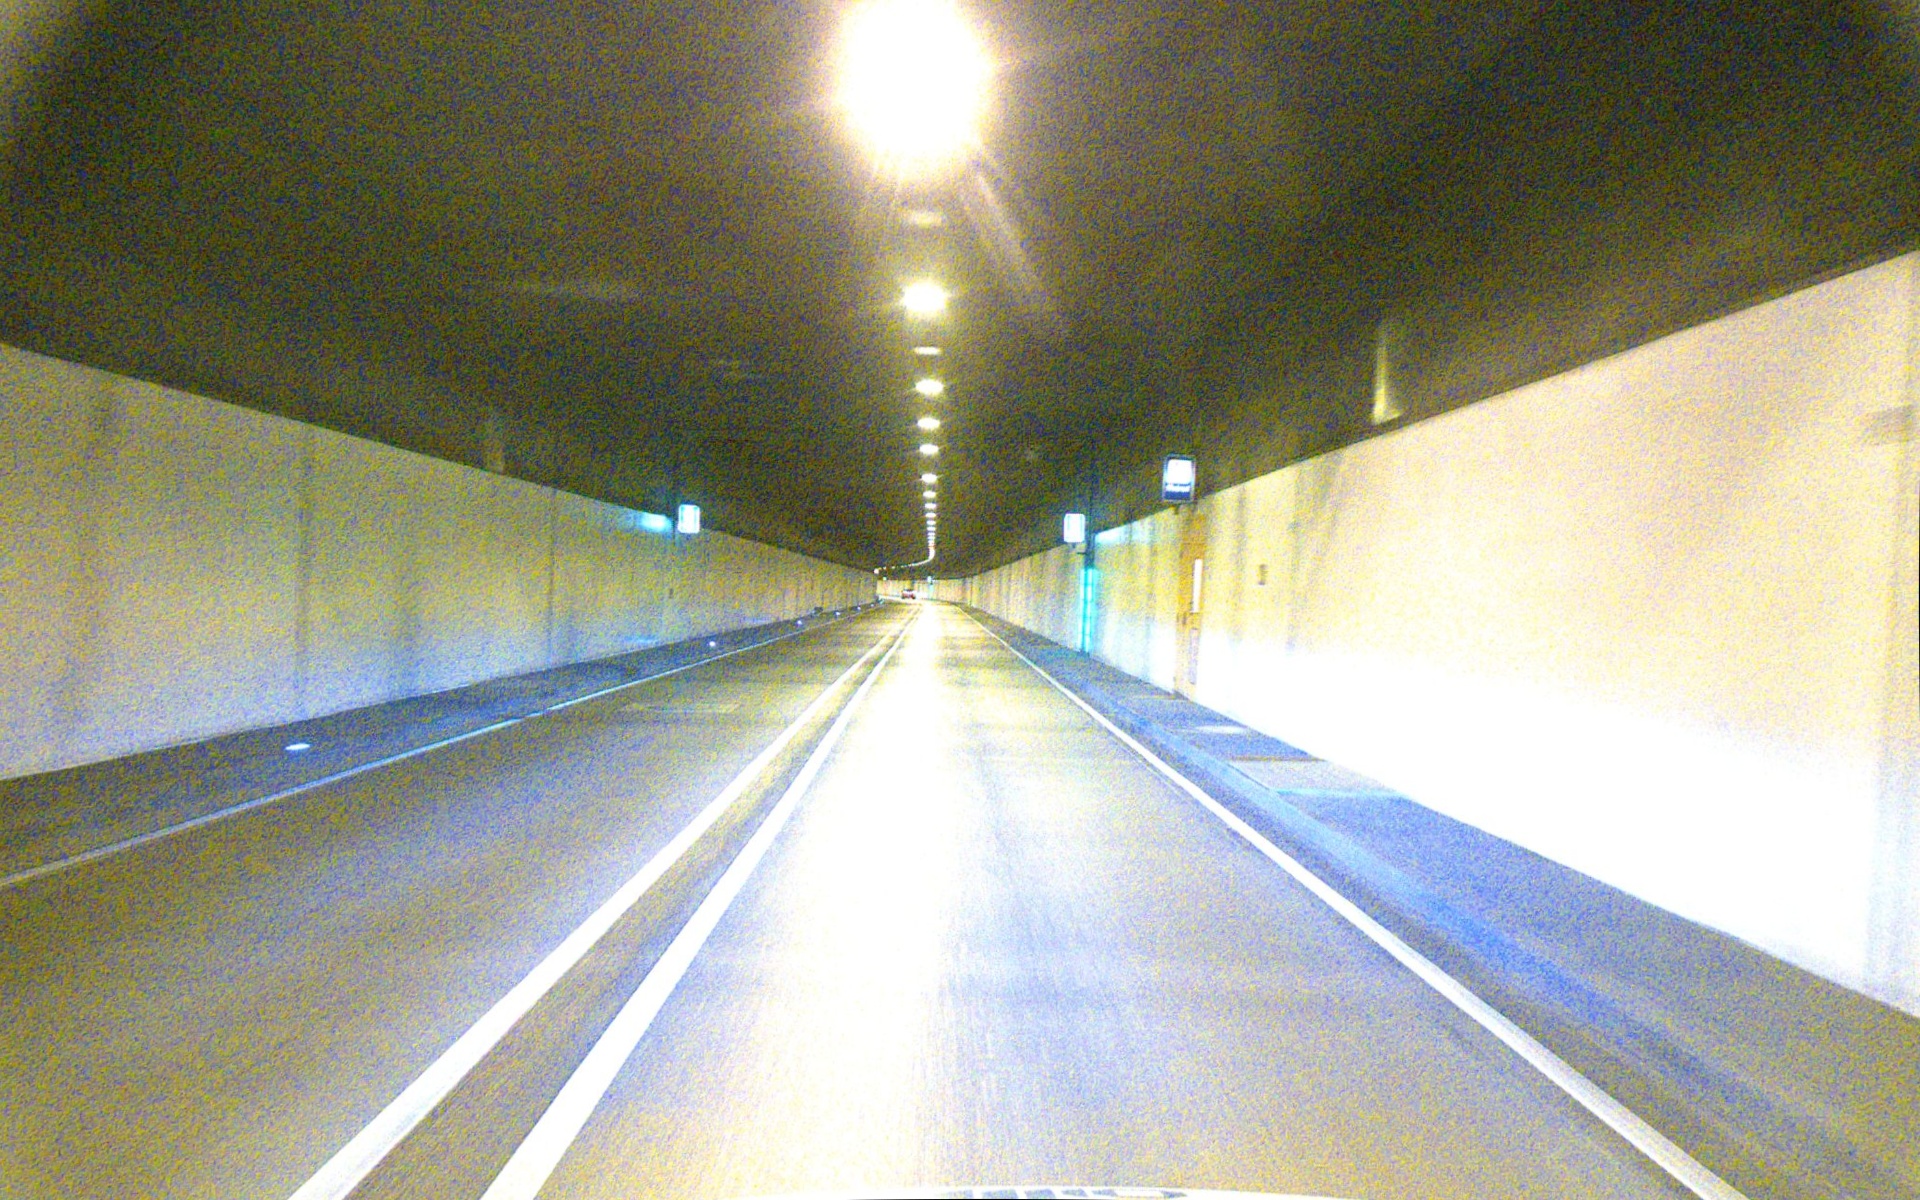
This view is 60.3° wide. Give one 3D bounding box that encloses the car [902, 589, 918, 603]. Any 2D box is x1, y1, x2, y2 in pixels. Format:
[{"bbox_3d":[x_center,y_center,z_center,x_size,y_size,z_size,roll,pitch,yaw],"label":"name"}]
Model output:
[{"bbox_3d":[-7.274,-0.598,240.612,1.929,1.973,4.607,2,0,-5],"label":"car"}]
